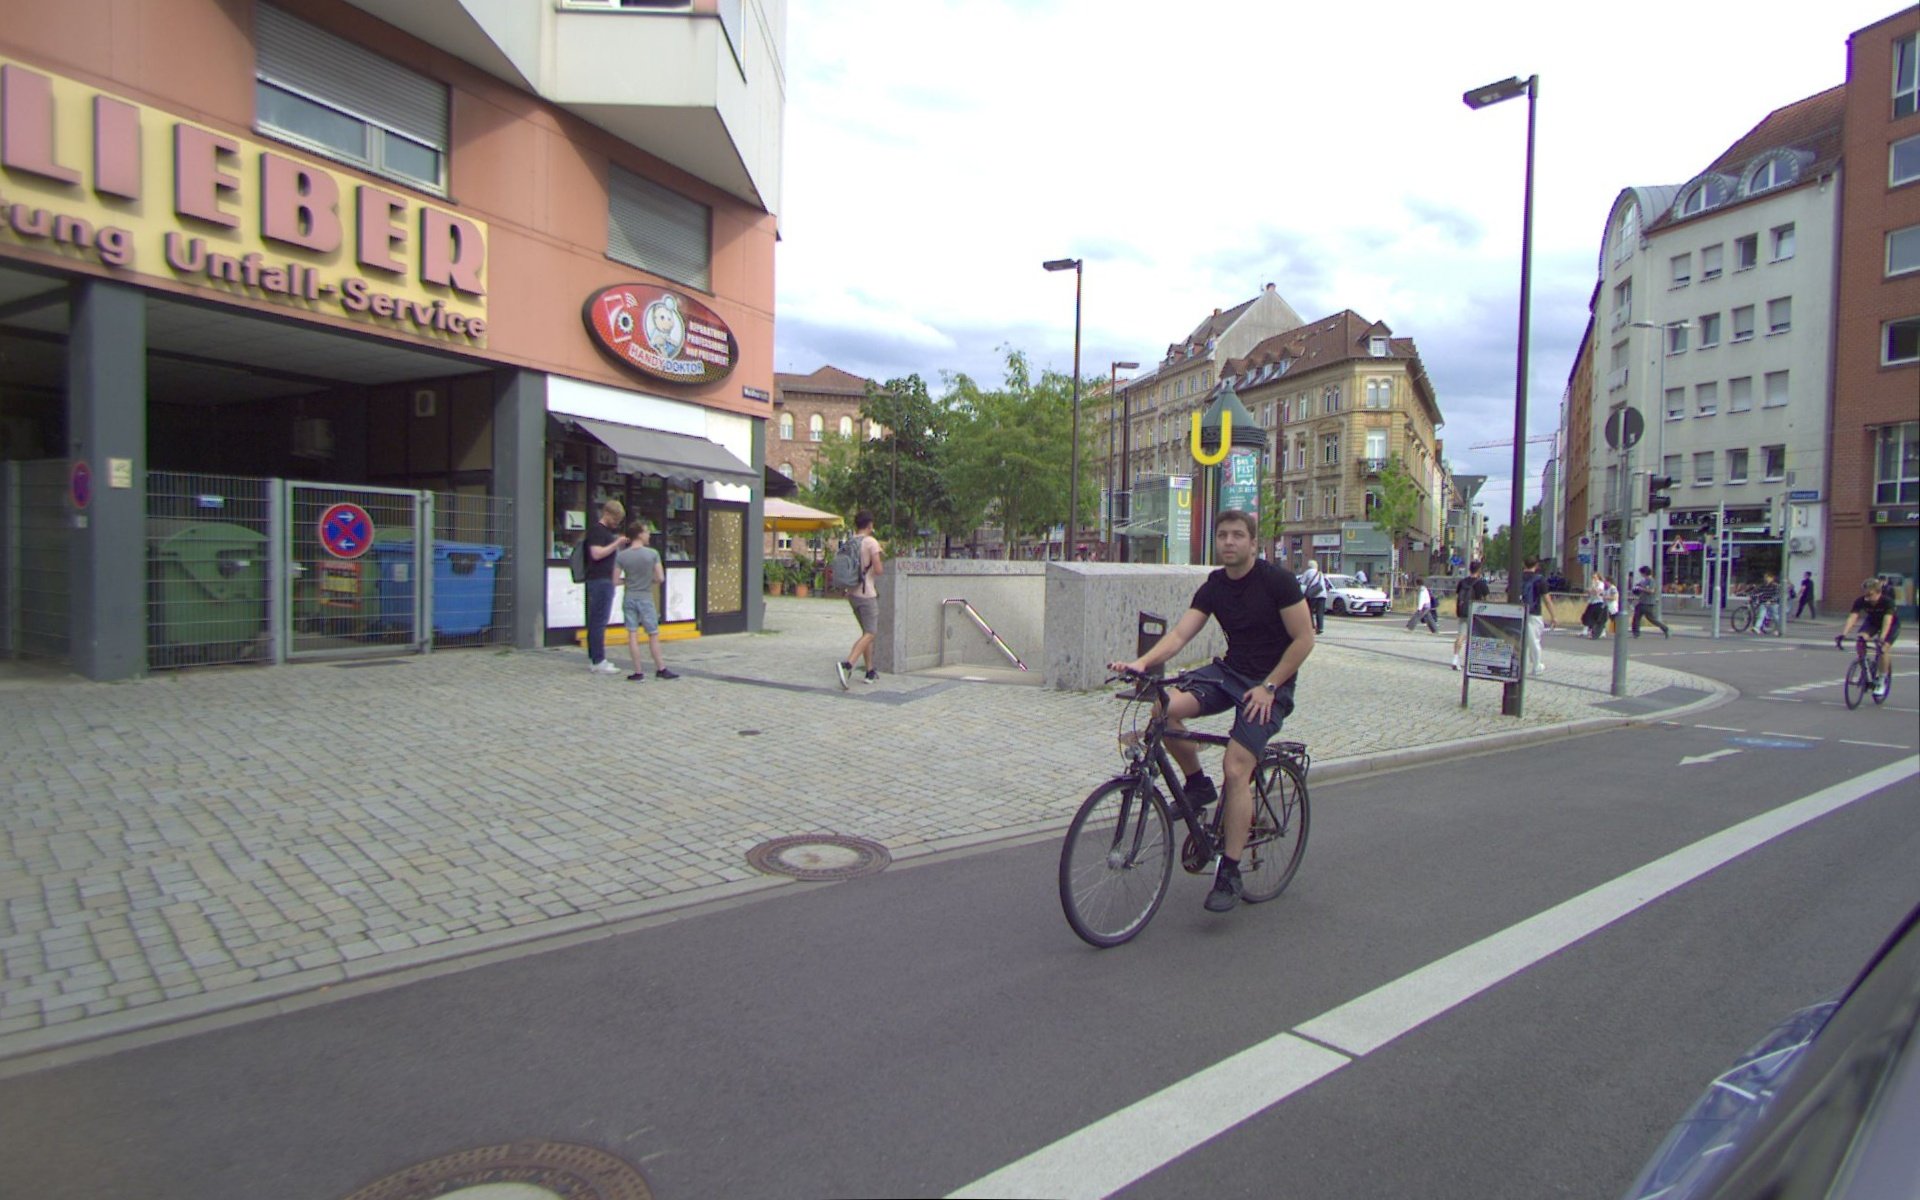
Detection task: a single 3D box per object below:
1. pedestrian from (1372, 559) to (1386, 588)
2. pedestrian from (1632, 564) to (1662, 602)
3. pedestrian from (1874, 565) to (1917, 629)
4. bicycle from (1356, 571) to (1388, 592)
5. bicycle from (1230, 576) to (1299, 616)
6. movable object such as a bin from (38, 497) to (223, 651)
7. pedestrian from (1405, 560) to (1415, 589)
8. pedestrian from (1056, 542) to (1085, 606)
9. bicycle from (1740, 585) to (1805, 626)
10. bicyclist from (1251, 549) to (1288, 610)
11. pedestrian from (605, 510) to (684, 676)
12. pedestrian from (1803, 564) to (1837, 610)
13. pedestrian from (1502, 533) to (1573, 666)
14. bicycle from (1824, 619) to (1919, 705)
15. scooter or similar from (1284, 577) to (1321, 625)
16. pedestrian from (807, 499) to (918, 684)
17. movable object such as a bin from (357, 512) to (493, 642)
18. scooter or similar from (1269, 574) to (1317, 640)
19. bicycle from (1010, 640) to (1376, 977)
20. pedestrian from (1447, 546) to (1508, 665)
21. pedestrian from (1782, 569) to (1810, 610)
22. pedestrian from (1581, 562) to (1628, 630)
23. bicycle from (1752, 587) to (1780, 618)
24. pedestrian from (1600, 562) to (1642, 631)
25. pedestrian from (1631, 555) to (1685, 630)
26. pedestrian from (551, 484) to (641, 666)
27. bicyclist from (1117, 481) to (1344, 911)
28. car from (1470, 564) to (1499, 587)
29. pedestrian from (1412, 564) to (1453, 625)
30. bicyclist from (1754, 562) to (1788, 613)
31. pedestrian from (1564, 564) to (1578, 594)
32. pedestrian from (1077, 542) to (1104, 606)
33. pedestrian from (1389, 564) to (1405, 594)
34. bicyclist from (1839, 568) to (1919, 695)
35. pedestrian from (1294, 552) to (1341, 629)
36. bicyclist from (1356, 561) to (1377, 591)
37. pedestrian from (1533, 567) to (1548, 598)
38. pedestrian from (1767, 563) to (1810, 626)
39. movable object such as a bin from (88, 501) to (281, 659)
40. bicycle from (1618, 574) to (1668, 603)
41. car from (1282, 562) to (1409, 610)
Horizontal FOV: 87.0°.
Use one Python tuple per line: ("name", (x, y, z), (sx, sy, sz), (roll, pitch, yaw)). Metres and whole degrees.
("pedestrian", (24.958, -1.583, 60.280), (0.504, 1.705, 0.425), (1, 2, -15))
("pedestrian", (30.663, -0.756, 45.172), (0.702, 1.647, 0.795), (1, 2, -12))
("pedestrian", (27.705, -0.099, 29.968), (0.681, 1.846, 0.571), (1, 2, -16))
("bicycle", (23.058, -1.064, 56.612), (0.383, 1.100, 1.925), (0, 3, -22))
("bicycle", (8.934, -0.123, 29.692), (1.901, 1.135, 0.388), (0, 3, 27))
("movable object such as a bin", (-8.894, -0.302, 10.881), (1.187, 1.534, 1.185), (3, 3, 28))
("pedestrian", (27.007, -1.540, 60.771), (0.419, 1.705, 0.512), (2, 2, 17))
("pedestrian", (3.312, -0.774, 30.365), (0.572, 1.890, 0.550), (2, 2, -20))
("bicycle", (22.792, 0.150, 28.376), (1.792, 1.124, 0.399), (1, 2, -15))
("bicyclist", (9.088, -0.617, 29.681), (0.899, 1.730, 0.693), (2, 2, 27))
("pedestrian", (-3.360, -0.088, 10.786), (0.470, 1.692, 0.584), (5, 4, 30))
("pedestrian", (32.018, -0.505, 37.691), (0.699, 1.668, 0.716), (2, 2, 22))
("pedestrian", (9.095, -0.028, 15.972), (0.714, 1.995, 1.006), (5, 3, 24))
("bicycle", (12.288, 0.801, 13.426), (1.711, 1.013, 0.490), (-1, 2, -21))
("scooter or similar", (8.447, 0.023, 24.960), (0.596, 1.123, 0.703), (2, 3, -3))
("pedestrian", (-1.050, -0.117, 10.989), (0.654, 1.874, 0.960), (6, 5, 32))
("movable object such as a bin", (-6.699, -0.312, 12.690), (1.137, 1.534, 1.078), (3, 3, 28))
("scooter or similar", (6.365, 0.120, 19.336), (1.105, 1.227, 0.286), (-1, 3, -39))
("bicycle", (1.107, 0.791, 4.459), (1.980, 1.136, 0.407), (-1, 2, -38))
("pedestrian", (8.331, 0.073, 16.336), (0.669, 1.821, 0.880), (5, 3, 23))
("pedestrian", (31.414, -0.399, 38.016), (0.586, 1.530, 0.625), (2, 2, 22))
("pedestrian", (16.722, -0.122, 26.268), (0.692, 1.716, 0.636), (1, 2, -8))
("bicycle", (26.237, 0.071, 32.970), (0.540, 0.962, 1.785), (3, 3, 34))
("pedestrian", (16.692, -0.103, 25.565), (0.779, 1.706, 0.471), (0, 2, -21))
("pedestrian", (17.773, -0.192, 25.780), (0.858, 1.877, 0.642), (1, 2, -16))
("pedestrian", (-4.049, -0.291, 11.262), (0.669, 1.925, 0.584), (5, 4, 30))
("bicyclist", (1.219, 0.372, 4.545), (0.847, 1.730, 0.560), (0, 3, -40))
("car", (36.913, -1.740, 71.262), (1.680, 1.606, 3.626), (2, 2, 27))
("pedestrian", (12.216, -0.159, 26.171), (0.831, 1.519, 0.553), (-2, 3, -32))
("bicyclist", (26.252, -0.414, 32.772), (0.741, 1.578, 0.934), (3, 3, 35))
("pedestrian", (35.209, -1.212, 58.321), (0.534, 1.743, 0.517), (2, 2, 17))
("pedestrian", (3.960, -0.790, 30.771), (0.572, 1.890, 0.491), (2, 2, -20))
("pedestrian", (24.999, -1.193, 57.895), (0.595, 1.705, 0.732), (-2, 2, 8))
("bicyclist", (12.295, 0.397, 13.420), (0.829, 1.623, 0.615), (0, 1, -21))
("pedestrian", (8.503, -0.244, 24.114), (0.672, 1.761, 0.939), (2, 3, -2))
("bicyclist", (22.830, -1.355, 56.818), (0.629, 1.623, 0.864), (0, 2, -23))
("pedestrian", (33.831, -1.029, 59.000), (0.584, 1.743, 0.517), (2, 2, 20))
("pedestrian", (22.823, -0.146, 27.886), (0.710, 1.706, 0.522), (1, 2, -15))
("movable object such as a bin", (-7.851, -0.229, 10.279), (1.139, 1.478, 1.212), (3, 3, 28))
("bicycle", (31.225, -0.528, 46.292), (0.532, 1.219, 1.811), (1, 3, -25))
("car", (13.805, -0.561, 36.574), (1.958, 1.530, 4.615), (-1, 3, -15))
